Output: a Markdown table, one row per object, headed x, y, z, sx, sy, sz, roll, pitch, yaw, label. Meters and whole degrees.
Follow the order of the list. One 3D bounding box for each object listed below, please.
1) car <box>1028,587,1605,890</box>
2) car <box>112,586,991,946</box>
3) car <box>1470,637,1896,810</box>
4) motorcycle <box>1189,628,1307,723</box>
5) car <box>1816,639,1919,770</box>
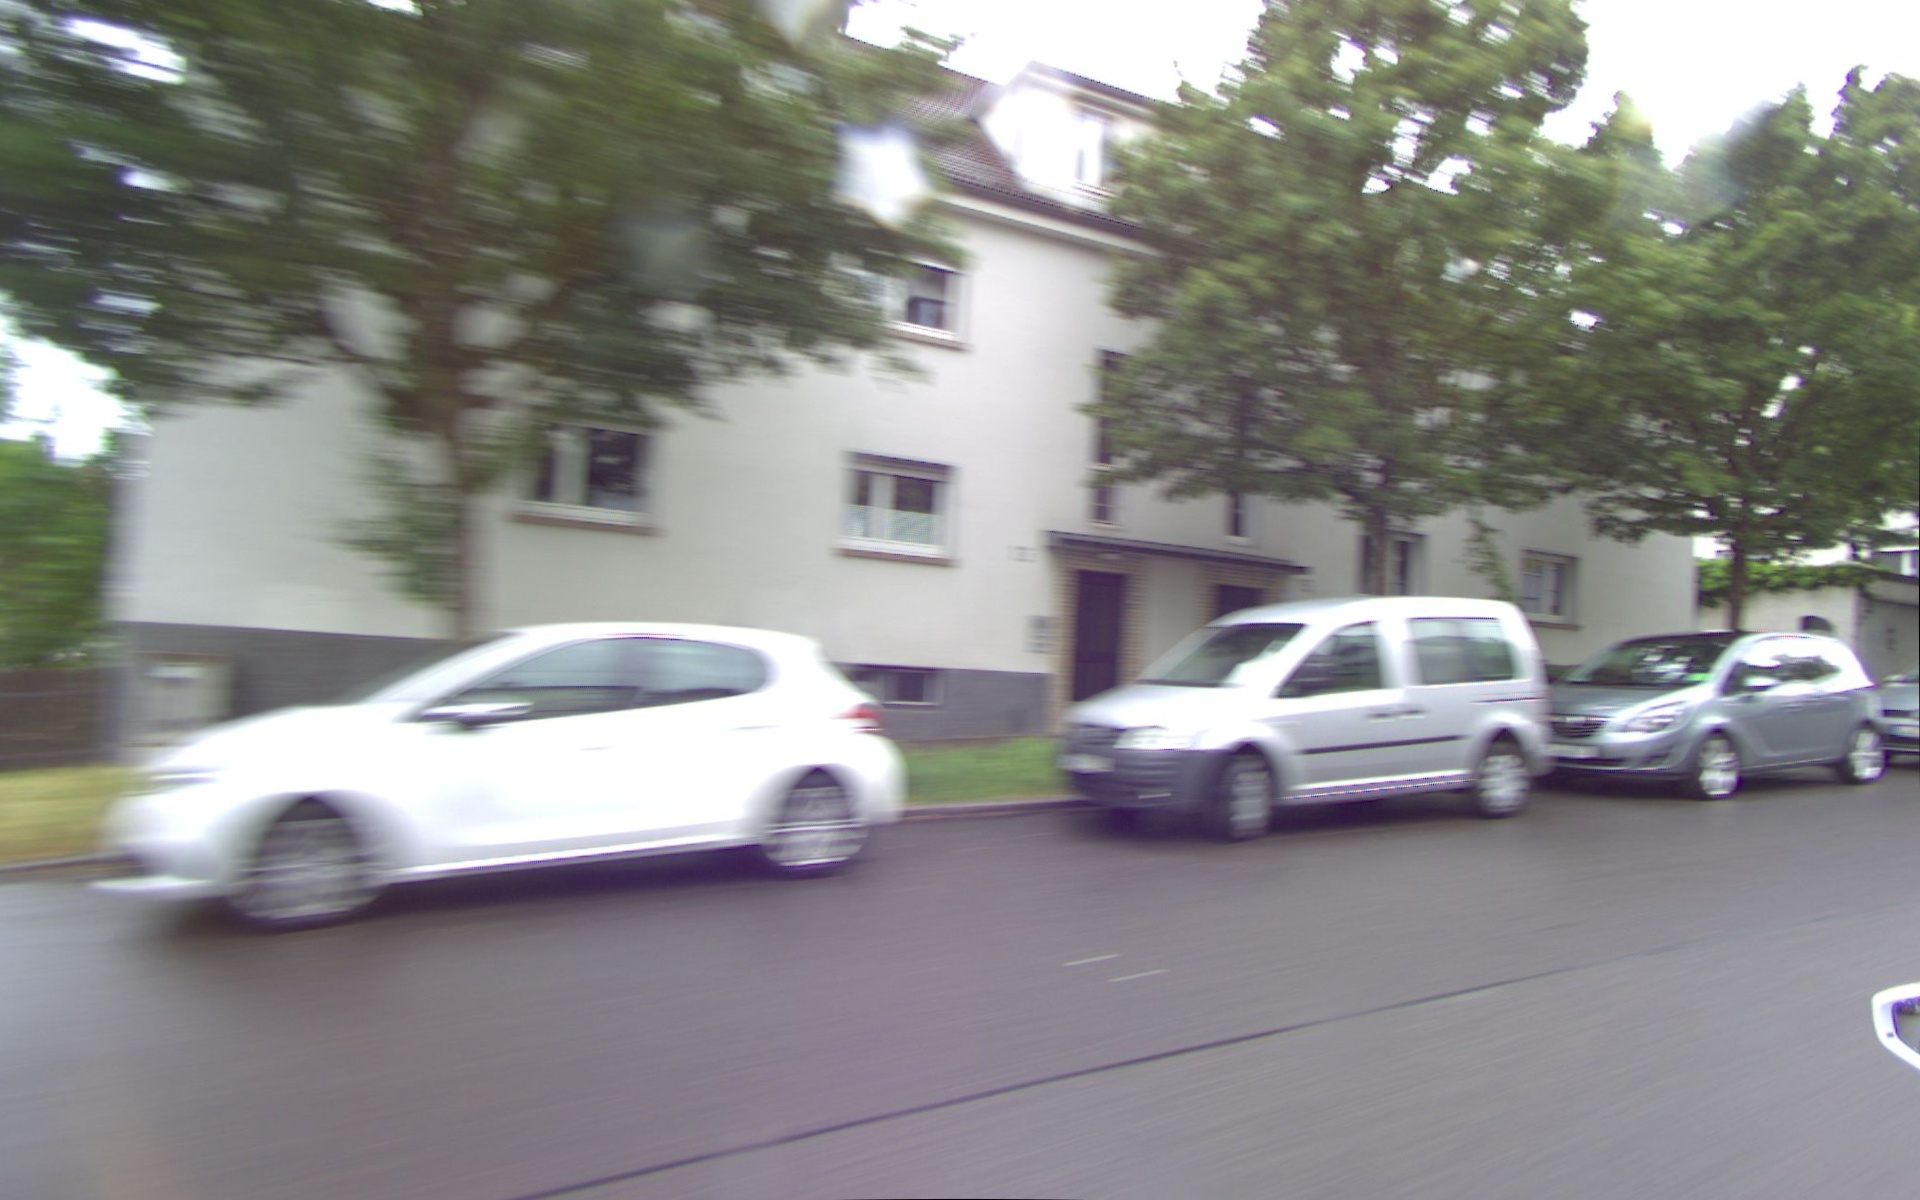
| x | y | z | sx | sy | sz | roll | pitch | yaw | label |
| --- | --- | --- | --- | --- | --- | --- | --- | --- | --- |
| 3.032 | 1.017 | 8.514 | 4.485 | 2.028 | 1.909 | 3 | 0 | -24 | car |
| -2.110 | 0.854 | 6.117 | 4.293 | 1.534 | 1.777 | 3 | -4 | -28 | car |
| 7.548 | 1.211 | 10.475 | 4.179 | 1.505 | 1.800 | 3 | -4 | -25 | car |
| 3.653 | 0.929 | 12.693 | 1.600 | 1.135 | 0.428 | 1 | -1 | -28 | motorcycle |
| 12.831 | 1.239 | 12.317 | 4.533 | 1.472 | 1.800 | 2 | -3 | -24 | car |
